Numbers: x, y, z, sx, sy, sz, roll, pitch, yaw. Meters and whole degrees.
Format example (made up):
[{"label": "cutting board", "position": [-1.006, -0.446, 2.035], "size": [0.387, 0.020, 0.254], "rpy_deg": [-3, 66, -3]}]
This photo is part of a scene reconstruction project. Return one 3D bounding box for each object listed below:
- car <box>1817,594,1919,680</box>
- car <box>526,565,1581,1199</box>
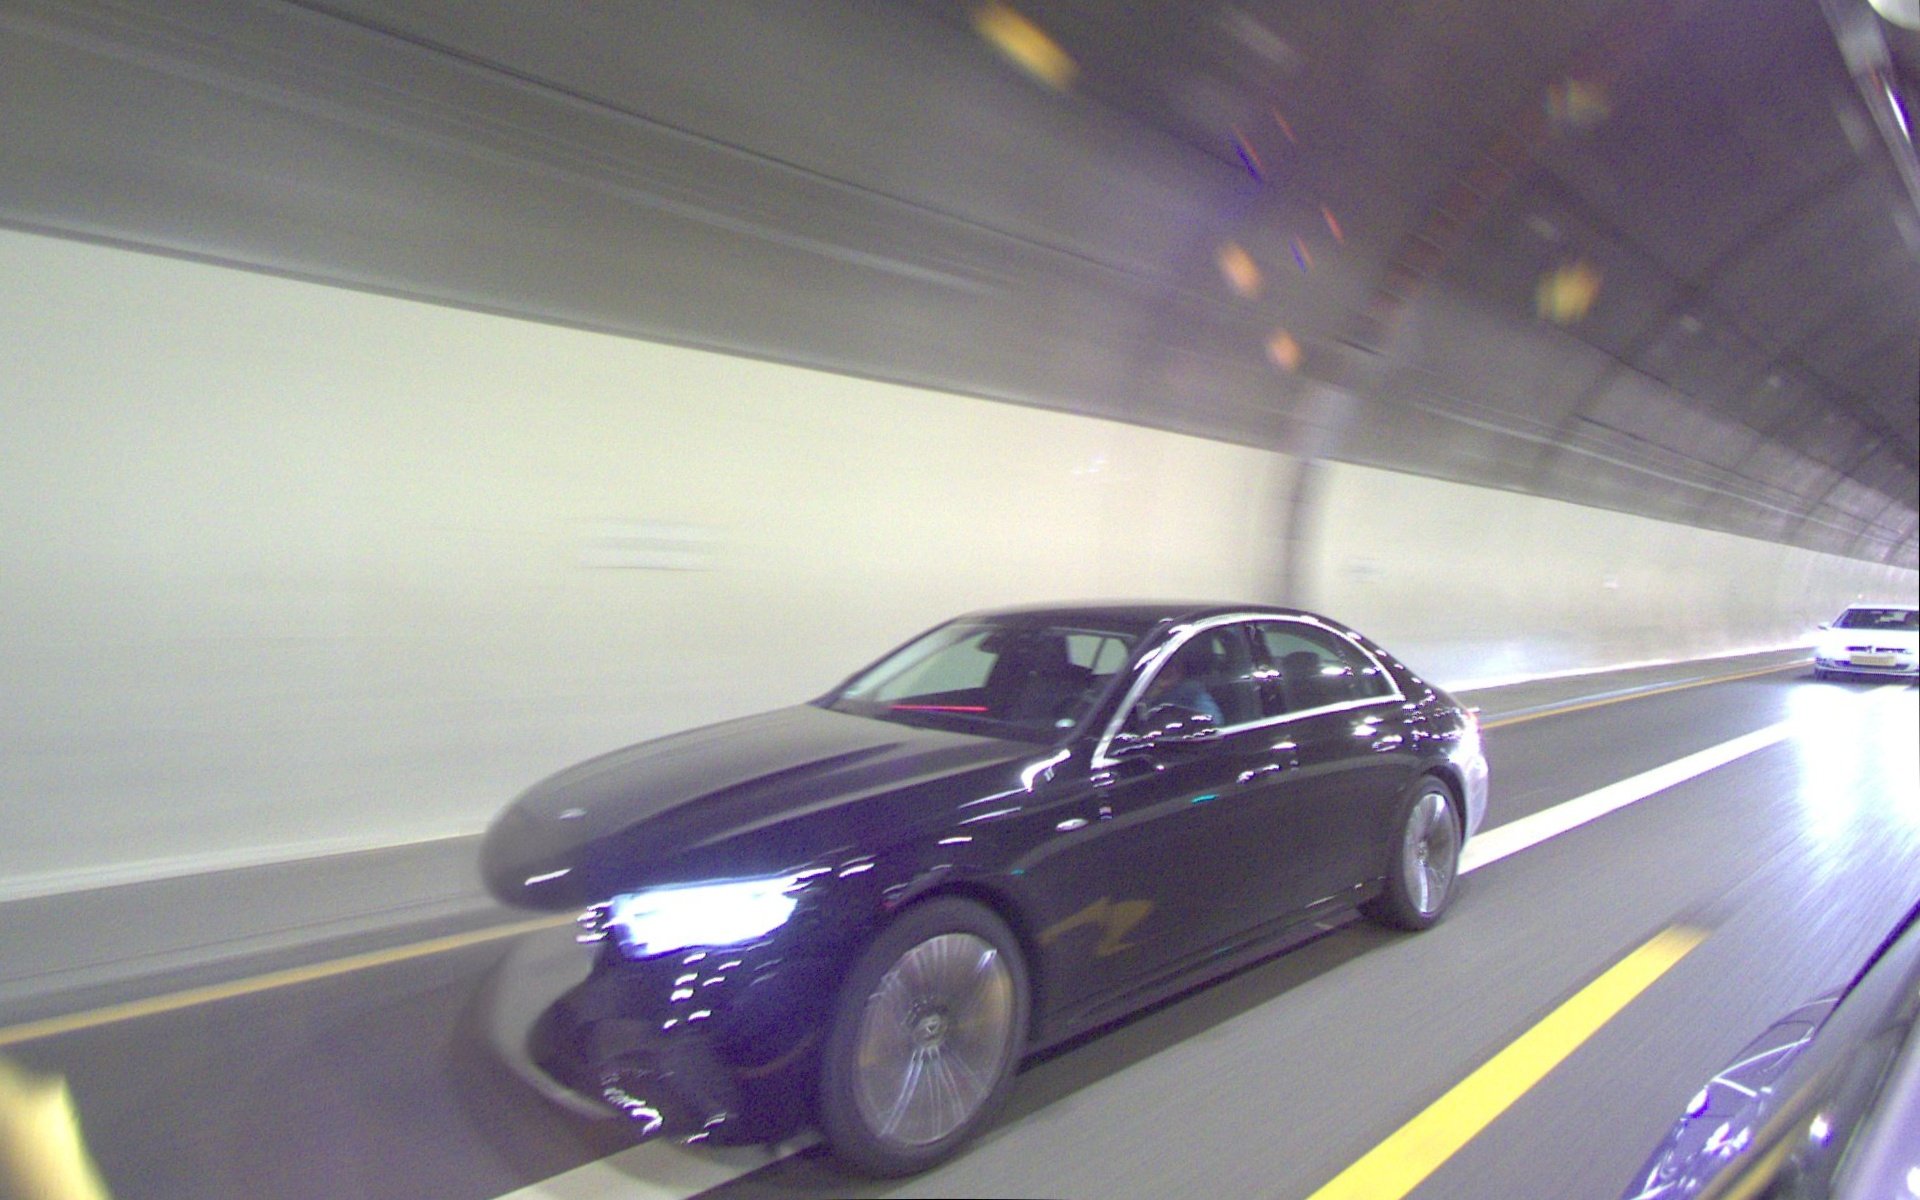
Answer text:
[{"label": "car", "position": [18.001, 0.646, 19.297], "size": [3.961, 1.479, 1.801], "rpy_deg": [0, 0, -39]}, {"label": "car", "position": [0.852, 0.654, 4.600], "size": [4.866, 1.491, 1.929], "rpy_deg": [0, 0, -40]}]
